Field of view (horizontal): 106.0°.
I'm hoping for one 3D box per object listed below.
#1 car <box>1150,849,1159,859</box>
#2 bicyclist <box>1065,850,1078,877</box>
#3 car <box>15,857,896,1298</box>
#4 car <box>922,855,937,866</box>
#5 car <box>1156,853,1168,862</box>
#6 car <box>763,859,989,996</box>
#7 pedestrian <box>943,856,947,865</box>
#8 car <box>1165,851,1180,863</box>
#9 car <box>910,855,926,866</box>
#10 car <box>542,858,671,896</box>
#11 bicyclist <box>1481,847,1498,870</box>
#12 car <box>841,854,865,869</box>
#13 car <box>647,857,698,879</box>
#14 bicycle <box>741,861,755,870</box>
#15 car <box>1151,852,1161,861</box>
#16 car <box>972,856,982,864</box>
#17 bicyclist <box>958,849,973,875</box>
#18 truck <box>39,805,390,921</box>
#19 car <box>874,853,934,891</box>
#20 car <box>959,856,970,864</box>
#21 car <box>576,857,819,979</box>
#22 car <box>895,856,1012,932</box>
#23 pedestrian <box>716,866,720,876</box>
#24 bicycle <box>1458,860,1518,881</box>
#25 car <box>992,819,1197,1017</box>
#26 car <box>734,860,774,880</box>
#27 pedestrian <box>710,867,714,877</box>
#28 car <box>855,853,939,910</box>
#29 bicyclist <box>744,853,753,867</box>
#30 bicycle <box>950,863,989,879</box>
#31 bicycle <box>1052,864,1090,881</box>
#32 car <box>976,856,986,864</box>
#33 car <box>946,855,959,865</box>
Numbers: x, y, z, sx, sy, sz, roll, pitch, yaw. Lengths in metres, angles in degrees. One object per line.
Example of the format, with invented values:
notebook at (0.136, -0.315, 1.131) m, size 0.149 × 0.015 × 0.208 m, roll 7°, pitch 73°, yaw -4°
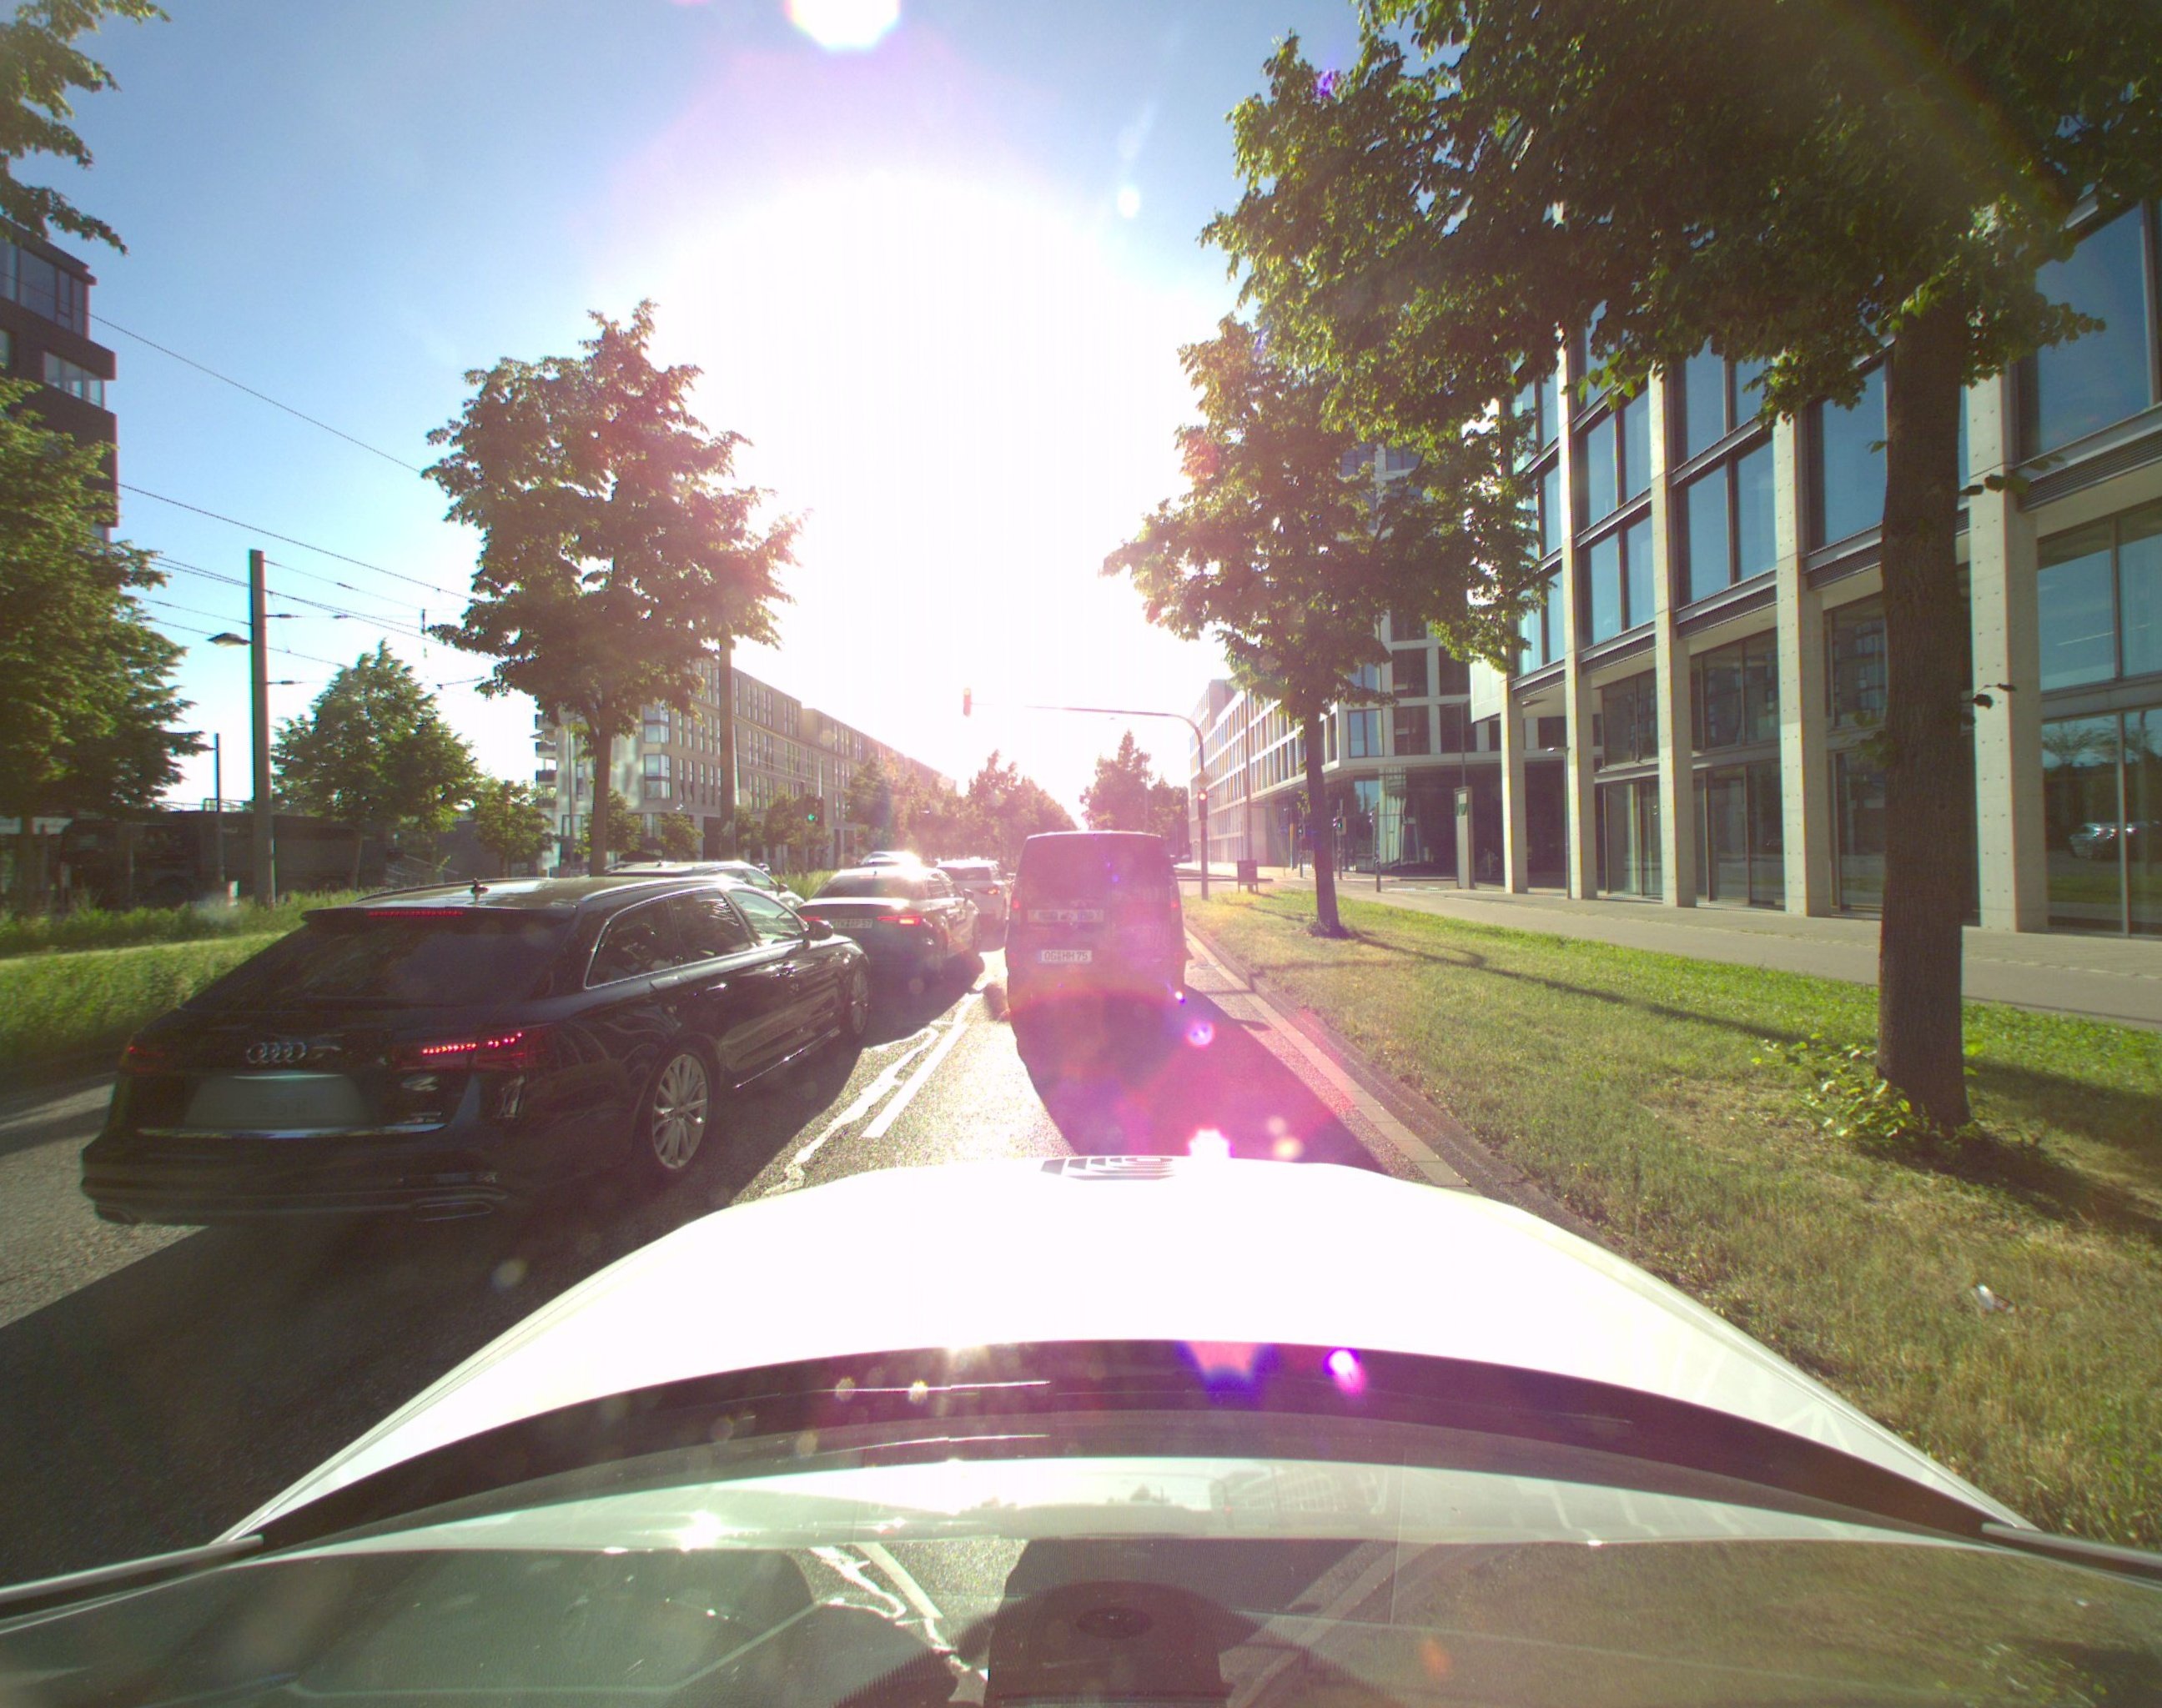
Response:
car at (17.884, 0.043, 198.175) m, size 1.986 × 2.497 × 4.988 m, roll -1°, pitch 0°, yaw 2°
bicyclist at (-0.776, 0.735, 64.069) m, size 0.936 × 2.092 × 0.818 m, roll -1°, pitch 0°, yaw 1°
car at (-2.756, 0.790, 5.341) m, size 1.868 × 1.484 × 4.967 m, roll -1°, pitch 0°, yaw 1°
car at (-29.700, 1.200, 159.375) m, size 1.986 × 2.013 × 4.002 m, roll -1°, pitch 0°, yaw 2°
car at (15.959, 0.646, 160.472) m, size 1.986 × 1.782 × 4.002 m, roll -1°, pitch 0°, yaw 2°
car at (-2.495, 0.820, 11.092) m, size 1.835 × 1.426 × 4.340 m, roll -1°, pitch 0°, yaw 2°
pedestrian at (-33.597, 1.592, 201.370) m, size 0.803 × 2.013 × 0.871 m, roll -1°, pitch 0°, yaw 1°
car at (14.314, 0.443, 127.667) m, size 1.986 × 1.782 × 4.002 m, roll -1°, pitch 0°, yaw 2°
car at (-30.113, 1.144, 150.278) m, size 1.986 × 2.013 × 4.002 m, roll -1°, pitch 0°, yaw 2°
car at (-20.255, 1.006, 34.860) m, size 4.587 × 1.483 × 1.785 m, roll 2°, pitch 0°, yaw -36°
bicyclist at (22.520, 0.239, 44.883) m, size 0.675 × 1.275 × 0.824 m, roll -1°, pitch 0°, yaw 16°
car at (-30.886, 0.999, 110.589) m, size 1.986 × 2.013 × 4.002 m, roll -1°, pitch 0°, yaw 2°
car at (-31.048, 1.046, 62.068) m, size 1.758 × 1.520 × 4.002 m, roll -1°, pitch 0°, yaw 2°
bicycle at (-37.166, 1.290, 91.028) m, size 0.674 × 0.988 × 1.957 m, roll -1°, pitch 0°, yaw 2°
car at (16.501, 0.560, 179.674) m, size 1.986 × 1.782 × 4.002 m, roll -1°, pitch 0°, yaw 2°
car at (-27.907, 1.547, 218.190) m, size 1.986 × 2.013 × 4.002 m, roll -1°, pitch 0°, yaw 2°
bicyclist at (-9.118, 0.628, 64.452) m, size 0.995 × 1.947 × 0.818 m, roll -1°, pitch 0°, yaw 2°
truck at (-33.633, 0.296, 32.640) m, size 2.880 × 3.853 × 10.217 m, roll -1°, pitch 0°, yaw 2°
car at (-7.558, 0.698, 34.452) m, size 1.806 × 1.447 × 4.536 m, roll 0°, pitch 0°, yaw -21°
car at (-28.618, 1.438, 200.177) m, size 1.986 × 2.013 × 4.002 m, roll -1°, pitch 0°, yaw 2°
car at (-5.528, 0.813, 12.398) m, size 1.508 × 1.492 × 4.219 m, roll -1°, pitch 0°, yaw 3°
car at (-2.644, 0.790, 17.757) m, size 1.797 × 1.426 × 3.902 m, roll -1°, pitch 0°, yaw 2°
pedestrian at (-40.020, 1.890, 89.832) m, size 0.253 × 1.085 × 0.289 m, roll -1°, pitch 0°, yaw 1°
bicycle at (22.416, 0.914, 44.913) m, size 2.815 × 1.114 × 0.824 m, roll -1°, pitch 0°, yaw 16°
car at (0.187, 0.582, 9.425) m, size 1.835 × 1.780 × 4.002 m, roll -1°, pitch 0°, yaw 2°
car at (-31.802, 1.543, 79.239) m, size 1.986 × 1.814 × 4.372 m, roll -1°, pitch 0°, yaw 2°
pedestrian at (-40.800, 1.944, 90.038) m, size 0.253 × 1.085 × 0.260 m, roll -1°, pitch 0°, yaw 1°
car at (-5.200, 0.711, 23.498) m, size 1.797 × 1.447 × 4.559 m, roll -1°, pitch 0°, yaw -6°
bicyclist at (-37.179, 0.703, 91.009) m, size 0.674 × 1.529 × 0.714 m, roll -1°, pitch 0°, yaw 1°
bicycle at (-8.798, 1.324, 64.426) m, size 2.931 × 1.190 × 0.818 m, roll -1°, pitch 0°, yaw 1°
bicycle at (-0.754, 1.455, 64.054) m, size 2.931 × 1.190 × 0.818 m, roll -1°, pitch 0°, yaw 1°
car at (-27.450, 1.585, 223.807) m, size 1.986 × 2.013 × 4.002 m, roll -1°, pitch 0°, yaw 2°
car at (-28.907, 1.342, 183.358) m, size 1.986 × 2.013 × 4.002 m, roll -1°, pitch 0°, yaw 2°
